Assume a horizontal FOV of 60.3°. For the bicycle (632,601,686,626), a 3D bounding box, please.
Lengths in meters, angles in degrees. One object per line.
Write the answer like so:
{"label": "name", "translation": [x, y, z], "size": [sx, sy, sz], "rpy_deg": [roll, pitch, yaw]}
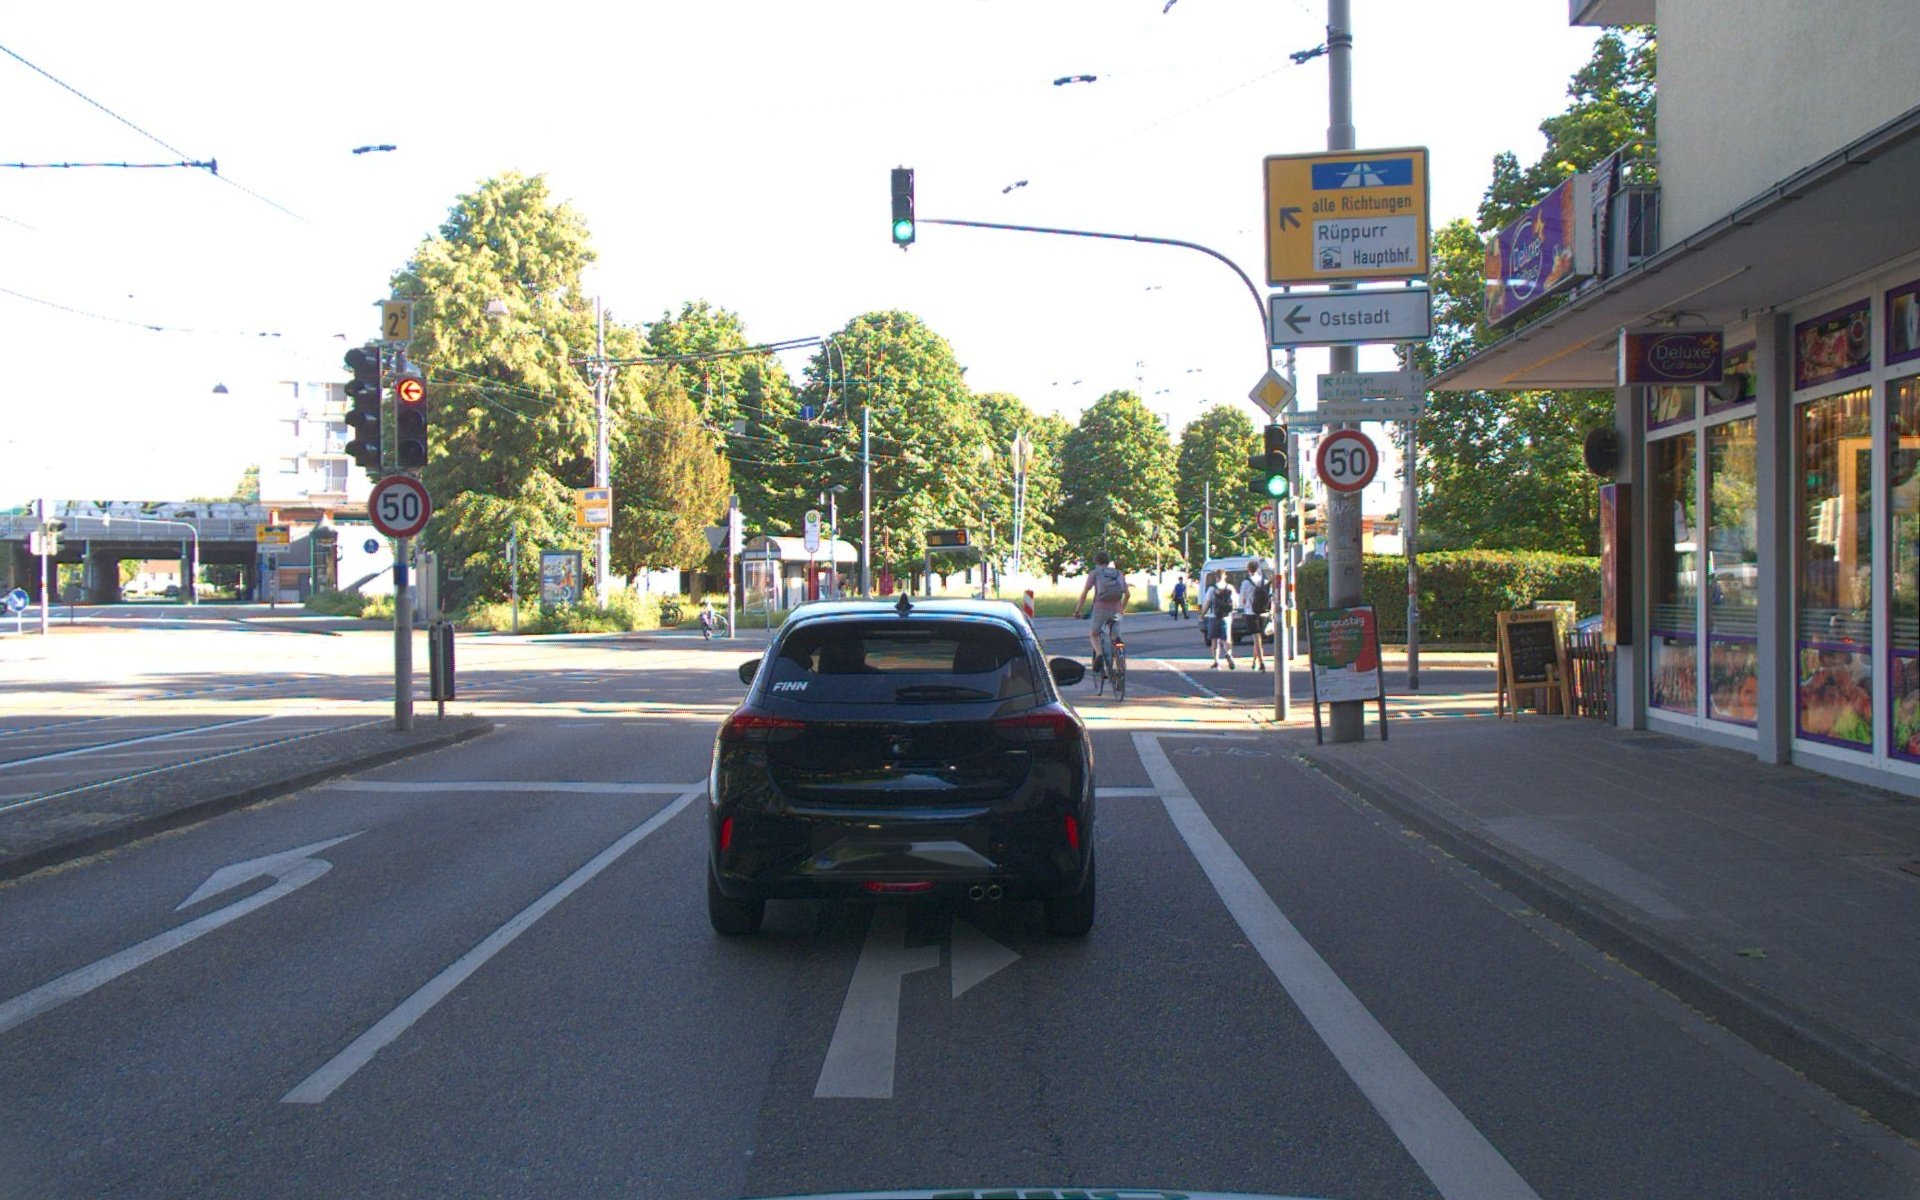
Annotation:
{"label": "bicycle", "translation": [-11.187, 0.498, 61.465], "size": [1.837, 0.922, 0.660], "rpy_deg": [0, 0, 6]}

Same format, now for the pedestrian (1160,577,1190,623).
{"label": "pedestrian", "translation": [8.553, -0.007, 65.729], "size": [0.939, 1.824, 0.995], "rpy_deg": [0, 0, 24]}

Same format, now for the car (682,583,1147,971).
{"label": "car", "translation": [-0.164, 0.657, 8.285], "size": [1.763, 1.466, 3.940], "rpy_deg": [-1, 1, 0]}

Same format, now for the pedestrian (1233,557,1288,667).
{"label": "pedestrian", "translation": [5.210, 0.198, 28.676], "size": [0.691, 1.878, 0.697], "rpy_deg": [0, 0, 38]}

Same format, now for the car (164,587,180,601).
{"label": "car", "translation": [-112.076, -0.860, 235.216], "size": [1.970, 2.049, 3.964], "rpy_deg": [1, 0, -27]}

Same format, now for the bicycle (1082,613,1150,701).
{"label": "bicycle", "translation": [2.058, 0.728, 22.054], "size": [0.654, 1.078, 2.081], "rpy_deg": [0, 1, -1]}

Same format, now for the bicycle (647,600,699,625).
{"label": "bicycle", "translation": [-10.989, 0.477, 63.325], "size": [1.837, 0.922, 0.660], "rpy_deg": [0, 0, 6]}

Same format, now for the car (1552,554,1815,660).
{"label": "car", "translation": [13.312, 0.163, 30.637], "size": [4.087, 1.846, 1.807], "rpy_deg": [-1, -3, 7]}

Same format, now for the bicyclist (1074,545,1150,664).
{"label": "bicyclist", "translation": [2.018, 0.047, 22.113], "size": [0.823, 1.536, 1.368], "rpy_deg": [0, 0, -3]}

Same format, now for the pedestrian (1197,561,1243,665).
{"label": "pedestrian", "translation": [4.594, 0.224, 29.233], "size": [0.684, 1.823, 0.617], "rpy_deg": [-1, 0, -2]}

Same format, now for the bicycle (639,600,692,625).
{"label": "bicycle", "translation": [-11.115, 0.476, 62.451], "size": [1.837, 0.922, 0.660], "rpy_deg": [0, 0, 6]}

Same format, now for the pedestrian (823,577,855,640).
{"label": "pedestrian", "translation": [-3.354, 0.227, 45.822], "size": [0.689, 1.722, 0.722], "rpy_deg": [-1, 0, -25]}

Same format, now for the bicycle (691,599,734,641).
{"label": "bicycle", "translation": [-6.624, 0.524, 44.365], "size": [0.808, 1.078, 1.883], "rpy_deg": [0, 0, 1]}

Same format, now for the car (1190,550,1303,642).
{"label": "car", "translation": [7.692, -0.099, 44.100], "size": [2.047, 2.317, 4.305], "rpy_deg": [1, 0, 23]}
